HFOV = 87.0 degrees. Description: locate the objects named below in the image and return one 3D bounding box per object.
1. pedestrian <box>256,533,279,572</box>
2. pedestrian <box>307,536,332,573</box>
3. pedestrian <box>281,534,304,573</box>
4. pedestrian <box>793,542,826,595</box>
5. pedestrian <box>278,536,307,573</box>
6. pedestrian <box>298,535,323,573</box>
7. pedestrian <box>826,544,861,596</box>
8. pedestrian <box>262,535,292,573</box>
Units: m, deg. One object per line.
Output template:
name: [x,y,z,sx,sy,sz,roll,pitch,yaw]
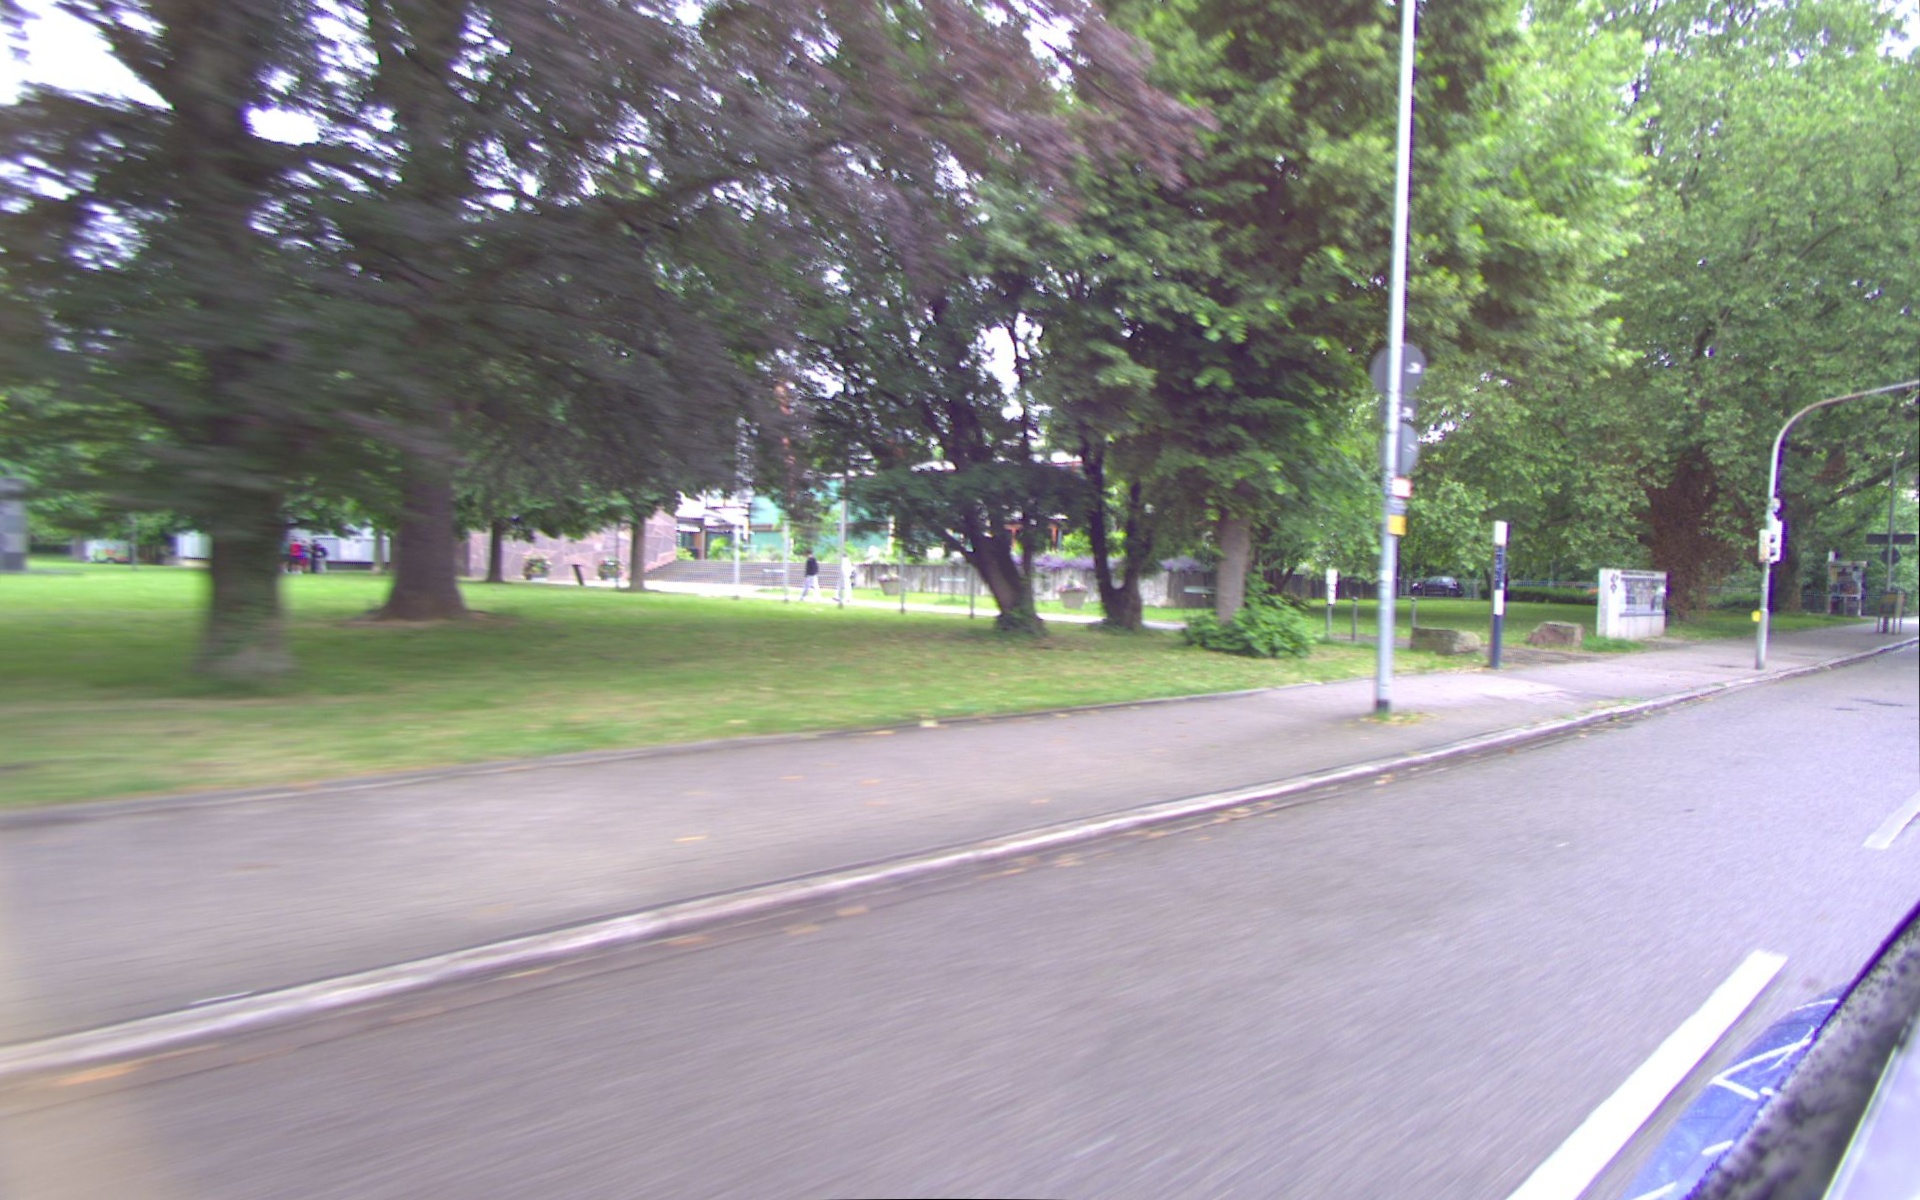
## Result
pedestrian: [-32.721,-2.215,47.797,0.824,1.785,0.859,-1,0,-30]
pedestrian: [-31.816,-2.262,50.309,0.767,1.785,0.830,-1,0,37]
pedestrian: [-31.812,-2.207,48.254,0.838,1.785,0.760,-1,0,44]
pedestrian: [-5.205,-1.066,34.934,0.838,1.785,0.760,-1,0,44]
pedestrian: [-32.812,-2.221,49.784,0.829,1.785,0.854,-1,0,16]
pedestrian: [-31.602,-2.236,49.218,0.838,1.785,0.845,-1,0,44]
pedestrian: [-4.094,-1.053,35.550,0.838,1.785,0.865,-1,0,44]
pedestrian: [-32.939,-2.215,48.811,0.825,1.785,0.858,-1,0,1]
